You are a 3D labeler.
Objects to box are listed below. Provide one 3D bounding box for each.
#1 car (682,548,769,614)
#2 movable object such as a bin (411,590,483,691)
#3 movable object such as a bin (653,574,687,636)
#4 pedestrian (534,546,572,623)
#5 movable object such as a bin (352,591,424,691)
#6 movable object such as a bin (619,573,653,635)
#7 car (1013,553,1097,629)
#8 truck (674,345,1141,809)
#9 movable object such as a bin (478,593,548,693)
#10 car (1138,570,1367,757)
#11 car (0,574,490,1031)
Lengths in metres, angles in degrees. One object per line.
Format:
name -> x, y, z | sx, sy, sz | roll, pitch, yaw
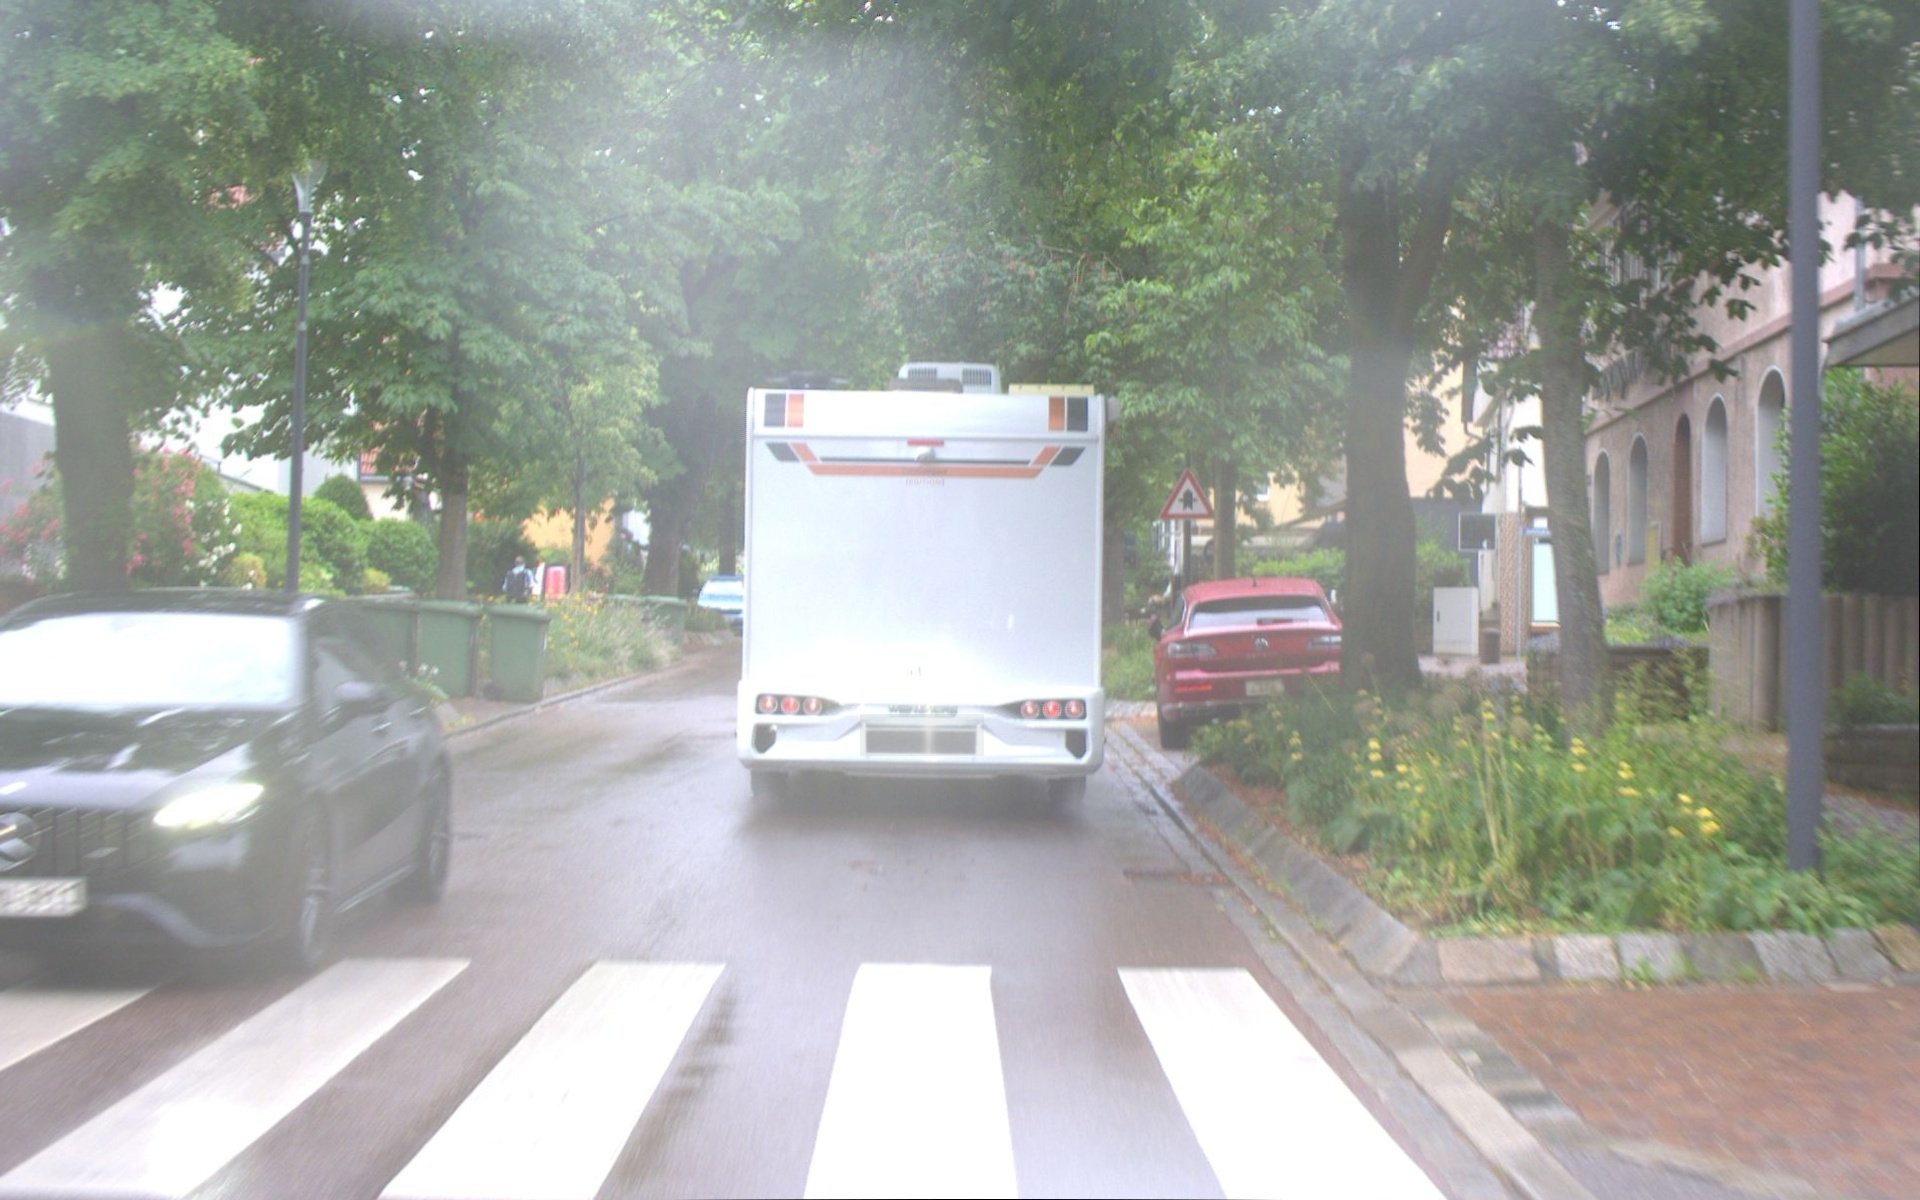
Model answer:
car -> -5.717, -0.447, 83.577 | 1.797, 1.547, 4.001 | 0, 0, -8
movable object such as a bin -> -5.699, 0.449, 38.229 | 0.670, 1.101, 0.817 | 1, 0, -1
movable object such as a bin -> -4.961, 0.081, 58.860 | 0.528, 1.055, 0.562 | 0, 0, 0
pedestrian -> -9.681, -0.371, 81.847 | 0.817, 1.838, 0.770 | 0, 0, -1
movable object such as a bin -> -6.448, 0.456, 38.764 | 0.670, 1.101, 0.817 | 1, 0, -1
movable object such as a bin -> -5.545, 0.061, 58.866 | 0.528, 1.055, 0.562 | 0, 0, 0
car -> 1.947, -0.178, 71.338 | 1.649, 1.536, 3.530 | 0, 0, 0
truck -> -0.351, -0.131, 23.708 | 2.805, 2.787, 6.107 | 0, 0, -1
movable object such as a bin -> -4.978, 0.474, 38.294 | 0.670, 1.091, 0.817 | 1, 0, -1
car -> 2.598, 0.521, 31.410 | 1.855, 1.467, 4.365 | 2, 1, 3
car -> -3.147, 0.659, 13.661 | 1.855, 1.380, 4.408 | 3, 1, 1
